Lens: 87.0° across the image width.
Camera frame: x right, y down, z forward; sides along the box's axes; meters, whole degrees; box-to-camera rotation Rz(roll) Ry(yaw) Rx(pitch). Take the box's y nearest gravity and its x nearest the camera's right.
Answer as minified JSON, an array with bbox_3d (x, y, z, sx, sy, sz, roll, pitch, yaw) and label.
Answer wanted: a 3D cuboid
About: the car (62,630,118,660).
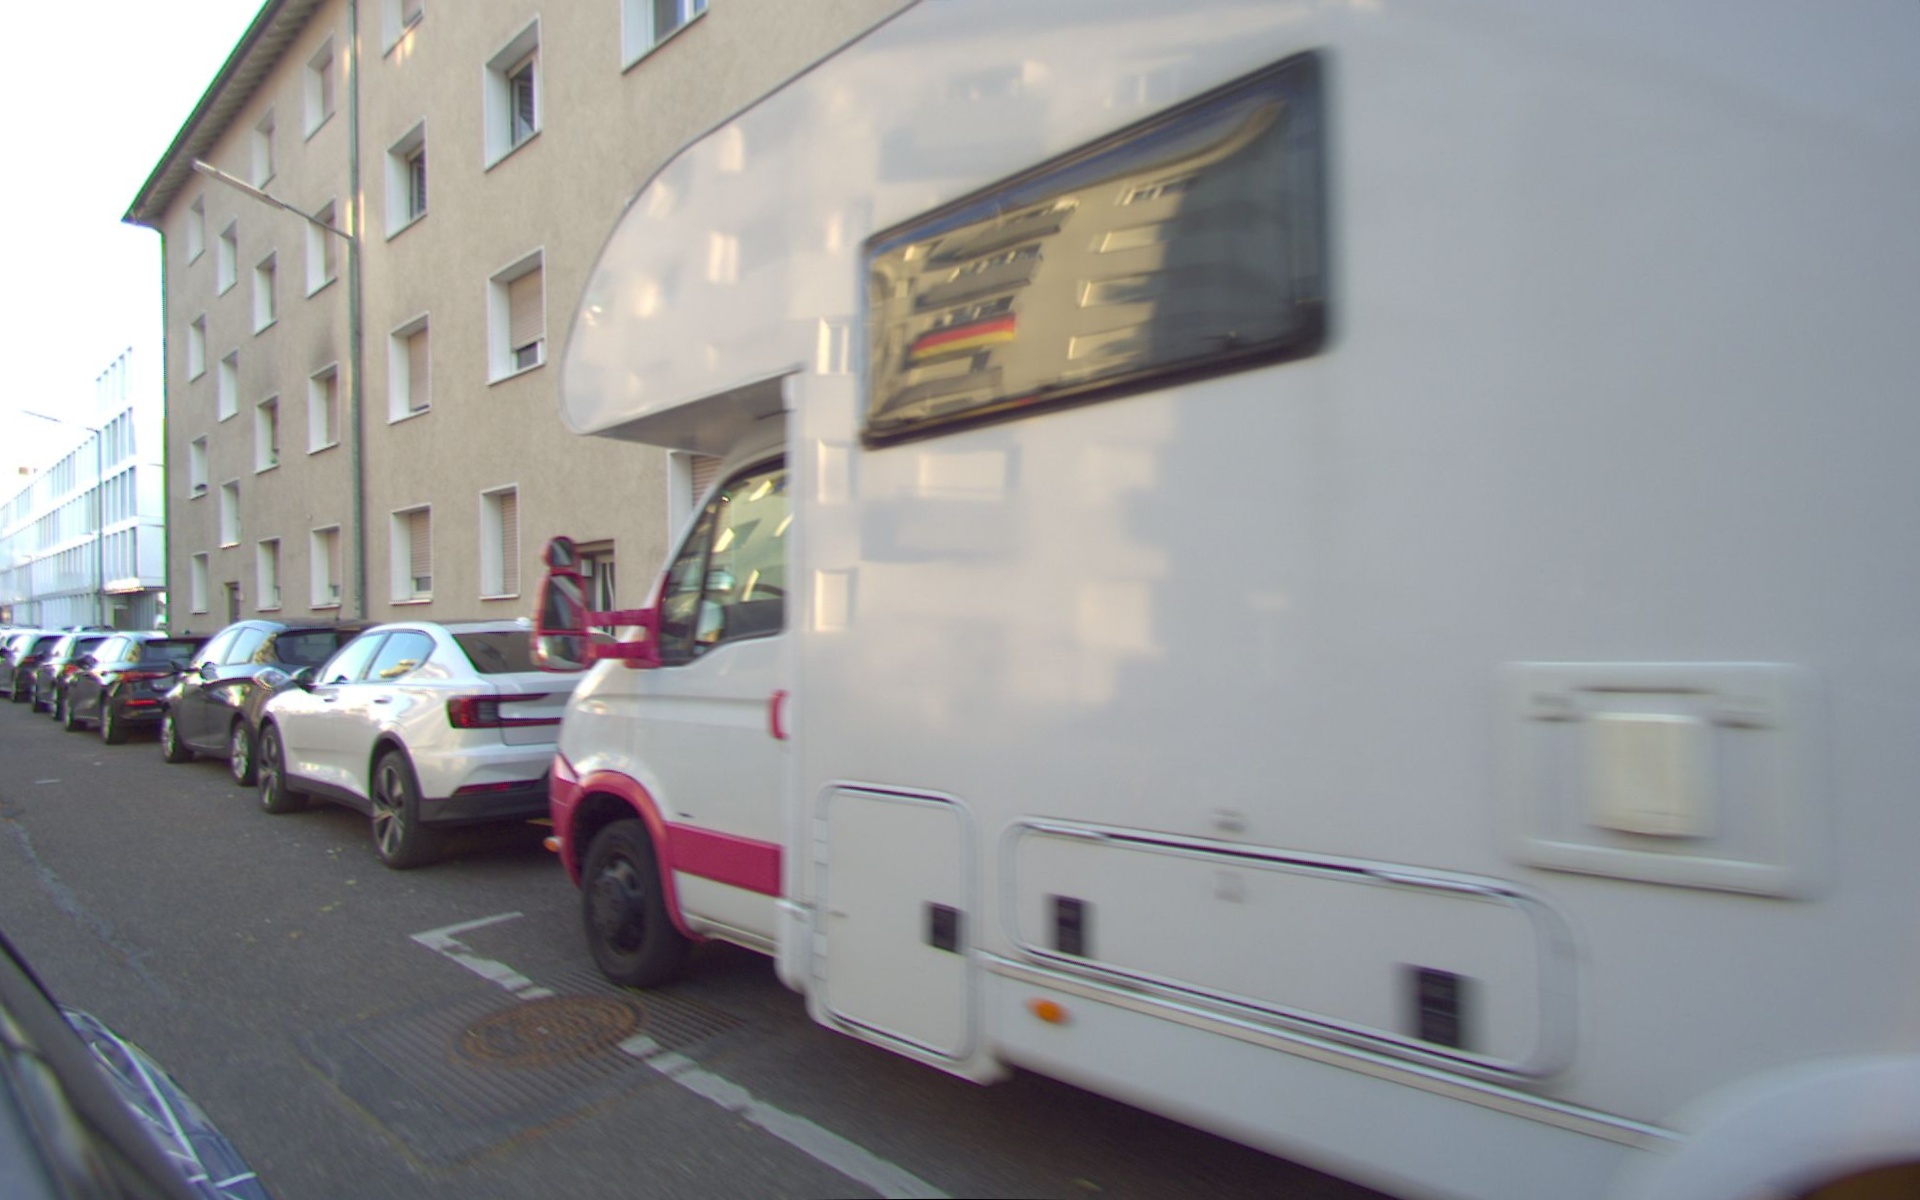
[{"bbox_3d":[-47.058,2.408,54.726,4.001,1.497,1.971,-2,-1,45],"label":"car"}]

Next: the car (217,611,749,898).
[{"bbox_3d":[-3.836,0.911,7.632,4.908,1.488,1.886,-2,-4,42],"label":"car"}]

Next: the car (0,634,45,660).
[{"bbox_3d":[-59.504,2.959,64.154,4.001,1.530,1.971,-2,-1,45],"label":"car"}]

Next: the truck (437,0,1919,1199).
[{"bbox_3d":[1.322,-0.217,2.940,8.019,3.379,2.497,-2,-4,44],"label":"truck"}]

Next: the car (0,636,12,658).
[{"bbox_3d":[-67.998,3.263,69.659,2.001,1.497,3.942,-2,-1,44],"label":"car"}]

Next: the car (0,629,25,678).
[{"bbox_3d":[-31.606,1.732,32.370,4.428,1.501,1.973,-2,-1,40],"label":"car"}]

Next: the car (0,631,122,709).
[{"bbox_3d":[-19.588,1.447,21.680,4.428,1.455,1.769,-2,-1,40],"label":"car"}]

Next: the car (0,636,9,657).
[{"bbox_3d":[-69.899,3.319,71.463,2.001,1.497,3.942,-2,-1,44],"label":"car"}]

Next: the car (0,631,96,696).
[{"bbox_3d":[-23.538,1.564,25.514,4.428,1.455,1.973,-2,-1,40],"label":"car"}]

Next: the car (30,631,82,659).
[{"bbox_3d":[-51.974,2.573,58.156,4.001,1.497,1.971,-2,-1,45],"label":"car"}]

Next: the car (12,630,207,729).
[{"bbox_3d":[-14.975,1.313,17.734,4.429,1.455,1.973,-2,-1,41],"label":"car"}]

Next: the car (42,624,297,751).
[{"bbox_3d":[-11.222,1.131,14.255,4.428,1.455,1.973,-2,-1,40],"label":"car"}]

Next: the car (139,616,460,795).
[{"bbox_3d":[-7.129,0.994,10.782,4.065,1.545,1.771,-2,-3,40],"label":"car"}]
